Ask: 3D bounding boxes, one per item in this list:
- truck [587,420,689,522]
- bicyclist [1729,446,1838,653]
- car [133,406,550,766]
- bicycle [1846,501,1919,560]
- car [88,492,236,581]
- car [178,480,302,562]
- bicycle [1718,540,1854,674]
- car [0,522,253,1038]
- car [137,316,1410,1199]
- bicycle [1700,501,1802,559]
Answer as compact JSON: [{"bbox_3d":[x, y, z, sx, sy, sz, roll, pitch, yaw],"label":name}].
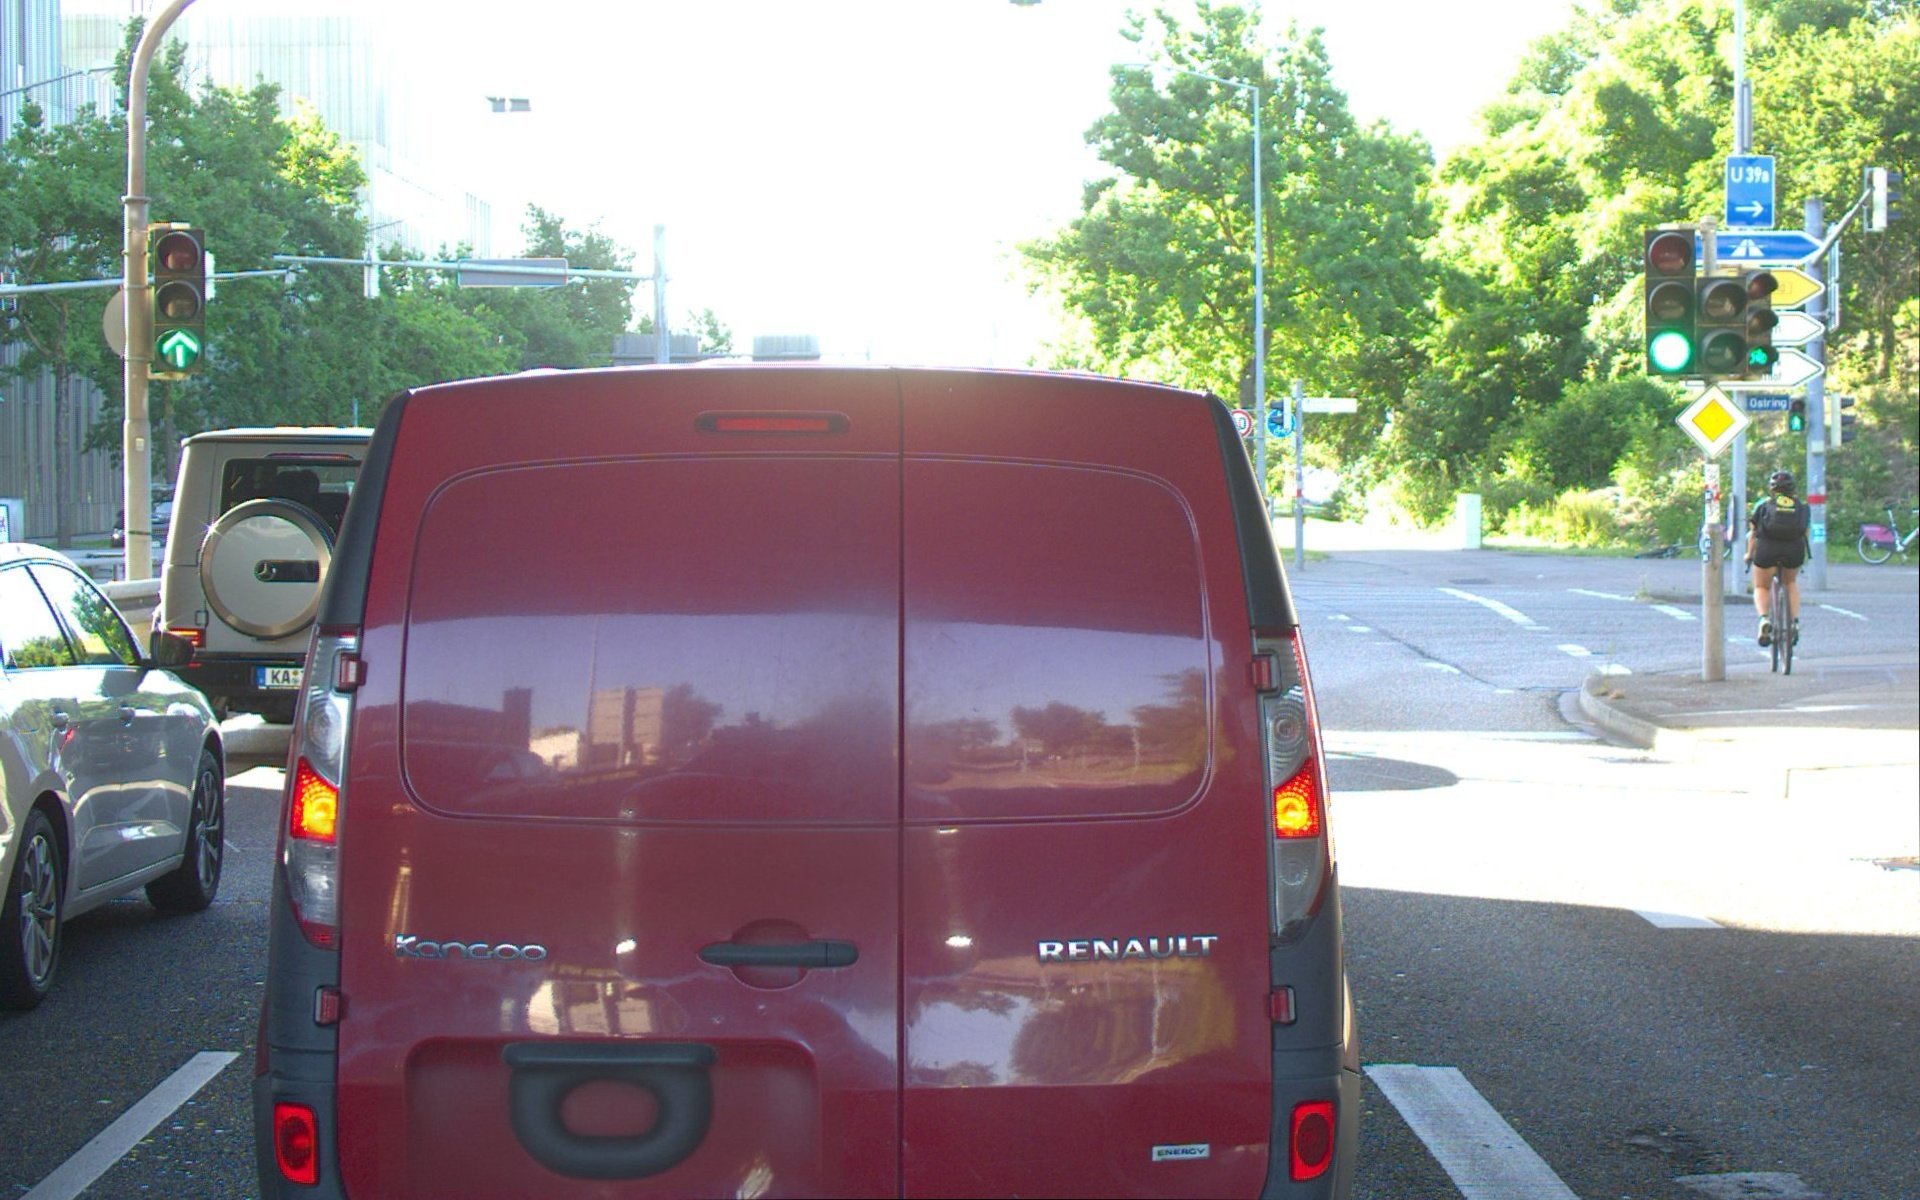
[{"bbox_3d":[-10.084,-4.031,108.161,2.409,3.016,6.657,-2,2,0],"label":"truck"},{"bbox_3d":[6.548,-0.399,27.361,0.591,1.608,0.942,1,0,-2],"label":"bicyclist"},{"bbox_3d":[-3.724,-0.100,21.476,1.801,1.982,4.589,1,1,-1],"label":"car"},{"bbox_3d":[16.652,-1.224,61.005,1.745,1.020,0.593,1,0,9],"label":"bicycle"},{"bbox_3d":[-16.573,-1.346,71.638,1.825,1.731,4.629,-2,2,1],"label":"car"},{"bbox_3d":[-16.433,-1.819,78.677,1.824,1.731,4.530,-2,2,0],"label":"car"},{"bbox_3d":[6.557,0.045,27.368,0.591,1.020,1.750,1,1,-2],"label":"bicycle"},{"bbox_3d":[-3.639,0.480,11.370,1.813,1.433,3.731,0,2,0],"label":"car"},{"bbox_3d":[-0.293,0.481,6.924,1.805,1.788,4.000,1,1,-1],"label":"car"},{"bbox_3d":[14.349,-1.270,62.392,1.745,1.020,0.593,1,0,9],"label":"bicycle"}]
